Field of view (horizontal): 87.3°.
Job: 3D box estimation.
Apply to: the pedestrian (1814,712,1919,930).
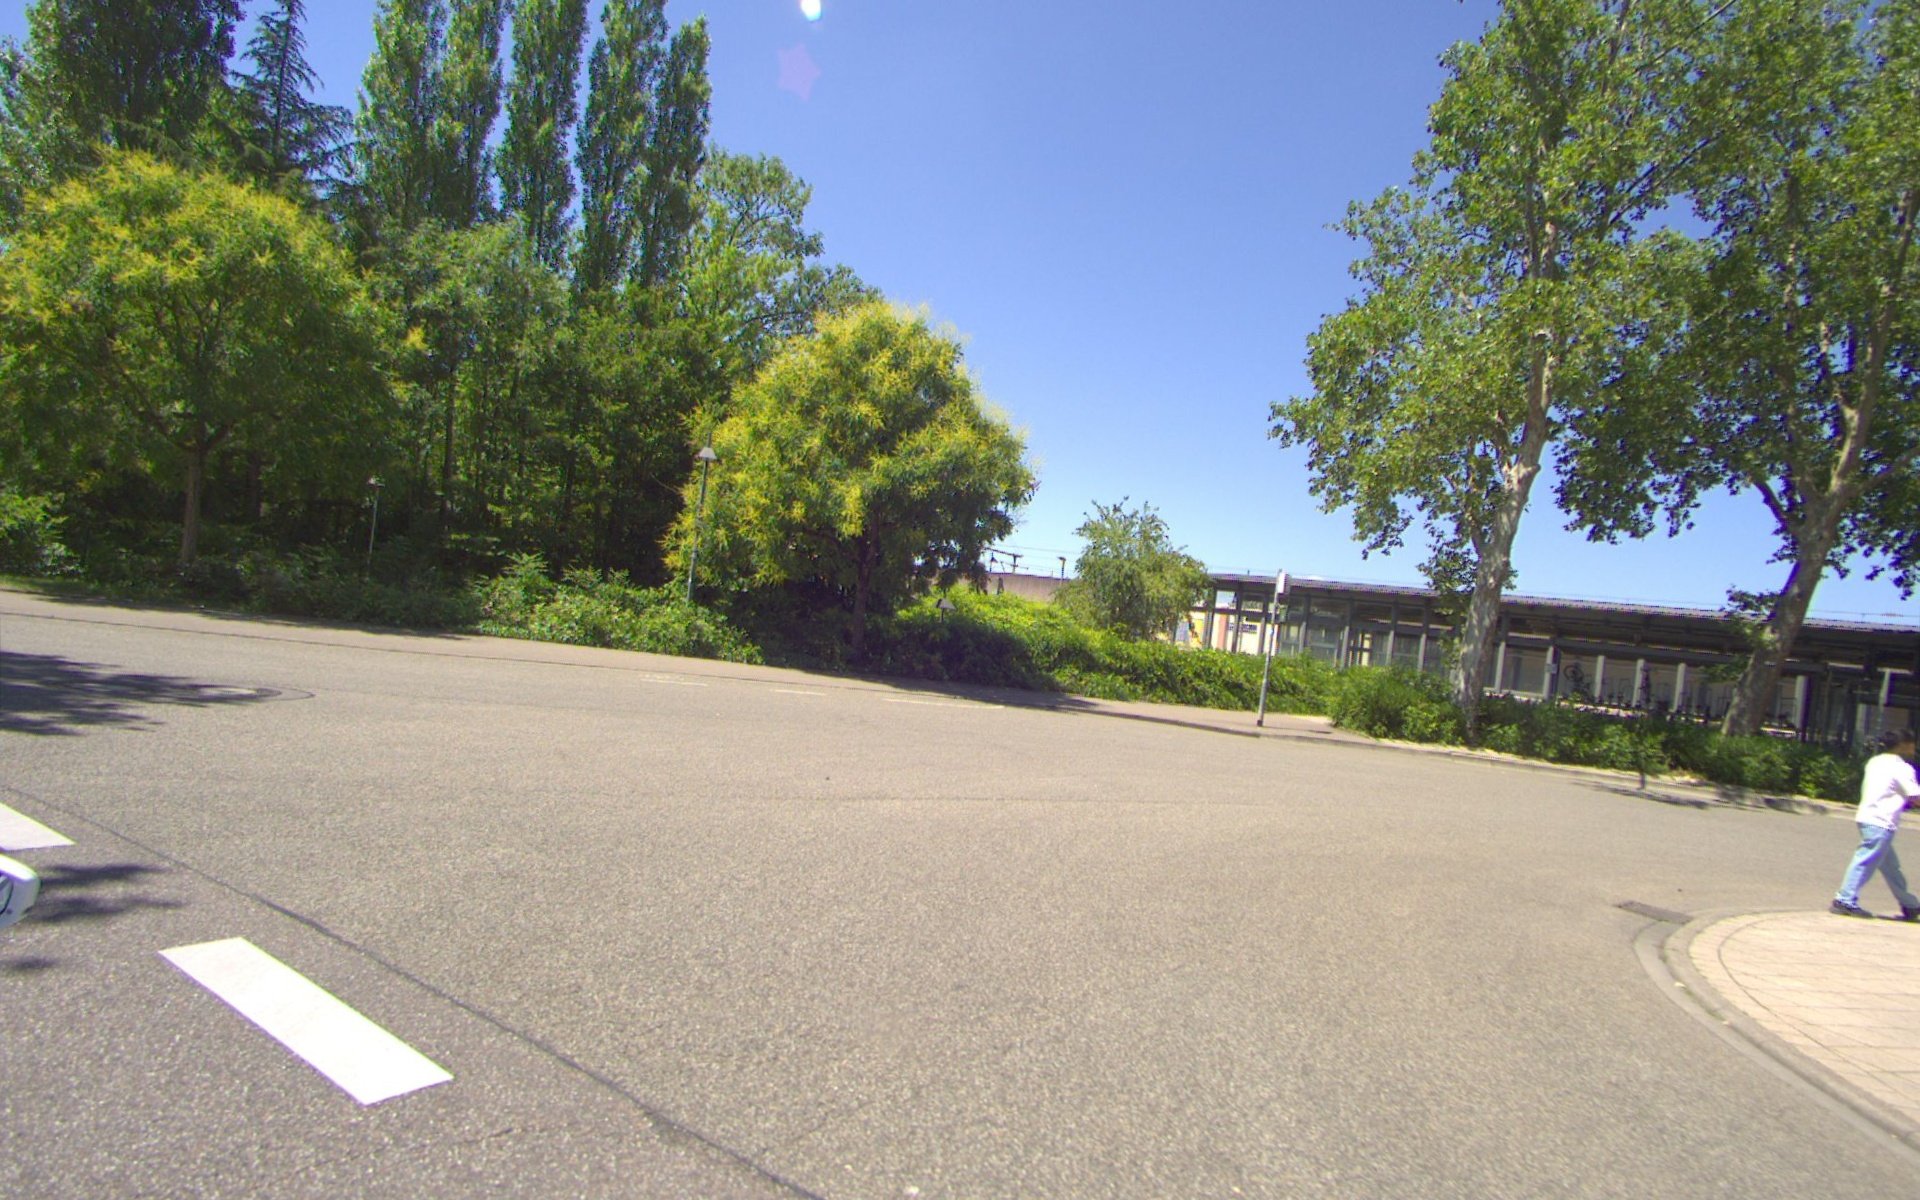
[{"bbox_3d":[8.310,1.942,8.930,0.671,1.756,0.904,7,-1,-43],"label":"pedestrian"}]
